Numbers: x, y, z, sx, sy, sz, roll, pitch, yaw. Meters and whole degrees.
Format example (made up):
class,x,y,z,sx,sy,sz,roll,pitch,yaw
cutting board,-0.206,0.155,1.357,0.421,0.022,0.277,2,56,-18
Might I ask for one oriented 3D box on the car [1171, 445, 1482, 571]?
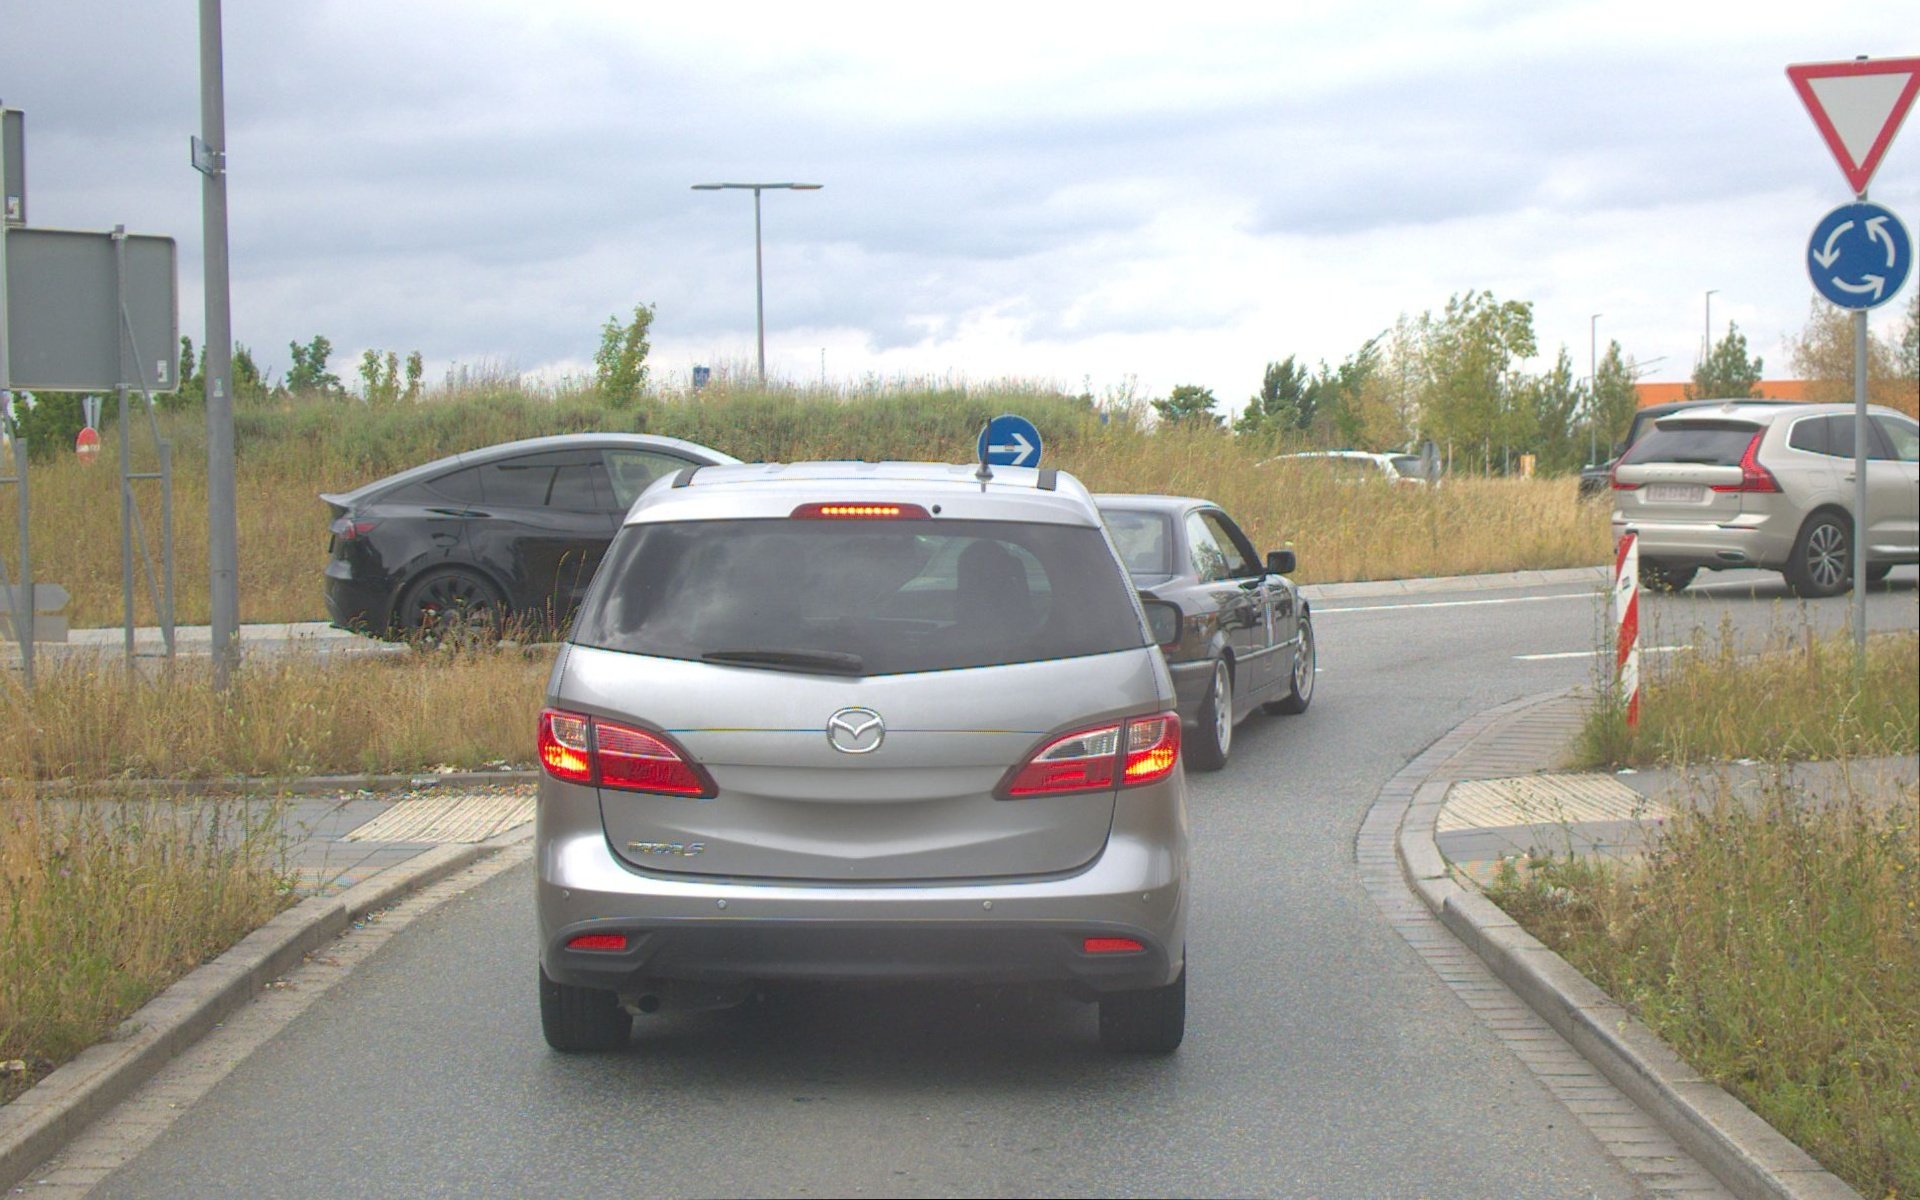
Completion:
class,x,y,z,sx,sy,sz,roll,pitch,yaw
car,5.869,-1.515,55.467,2.079,1.880,4.772,-5,5,-42

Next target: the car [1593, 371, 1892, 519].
class,x,y,z,sx,sy,sz,roll,pitch,yaw
car,10.818,-2.191,47.890,2.077,1.880,4.777,-3,4,-14

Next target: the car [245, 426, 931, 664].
class,x,y,z,sx,sy,sz,roll,pitch,yaw
car,-2.693,-0.444,25.188,4.758,1.493,1.945,-2,4,-6

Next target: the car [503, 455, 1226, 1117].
class,x,y,z,sx,sy,sz,roll,pitch,yaw
car,-0.251,0.371,10.350,1.738,1.593,3.998,1,2,0

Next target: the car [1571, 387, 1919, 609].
class,x,y,z,sx,sy,sz,roll,pitch,yaw
car,7.810,-0.972,30.457,4.760,1.732,1.944,-4,4,-36

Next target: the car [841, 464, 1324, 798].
class,x,y,z,sx,sy,sz,roll,pitch,yaw
car,0.765,0.062,18.172,1.739,1.398,3.996,1,4,14
